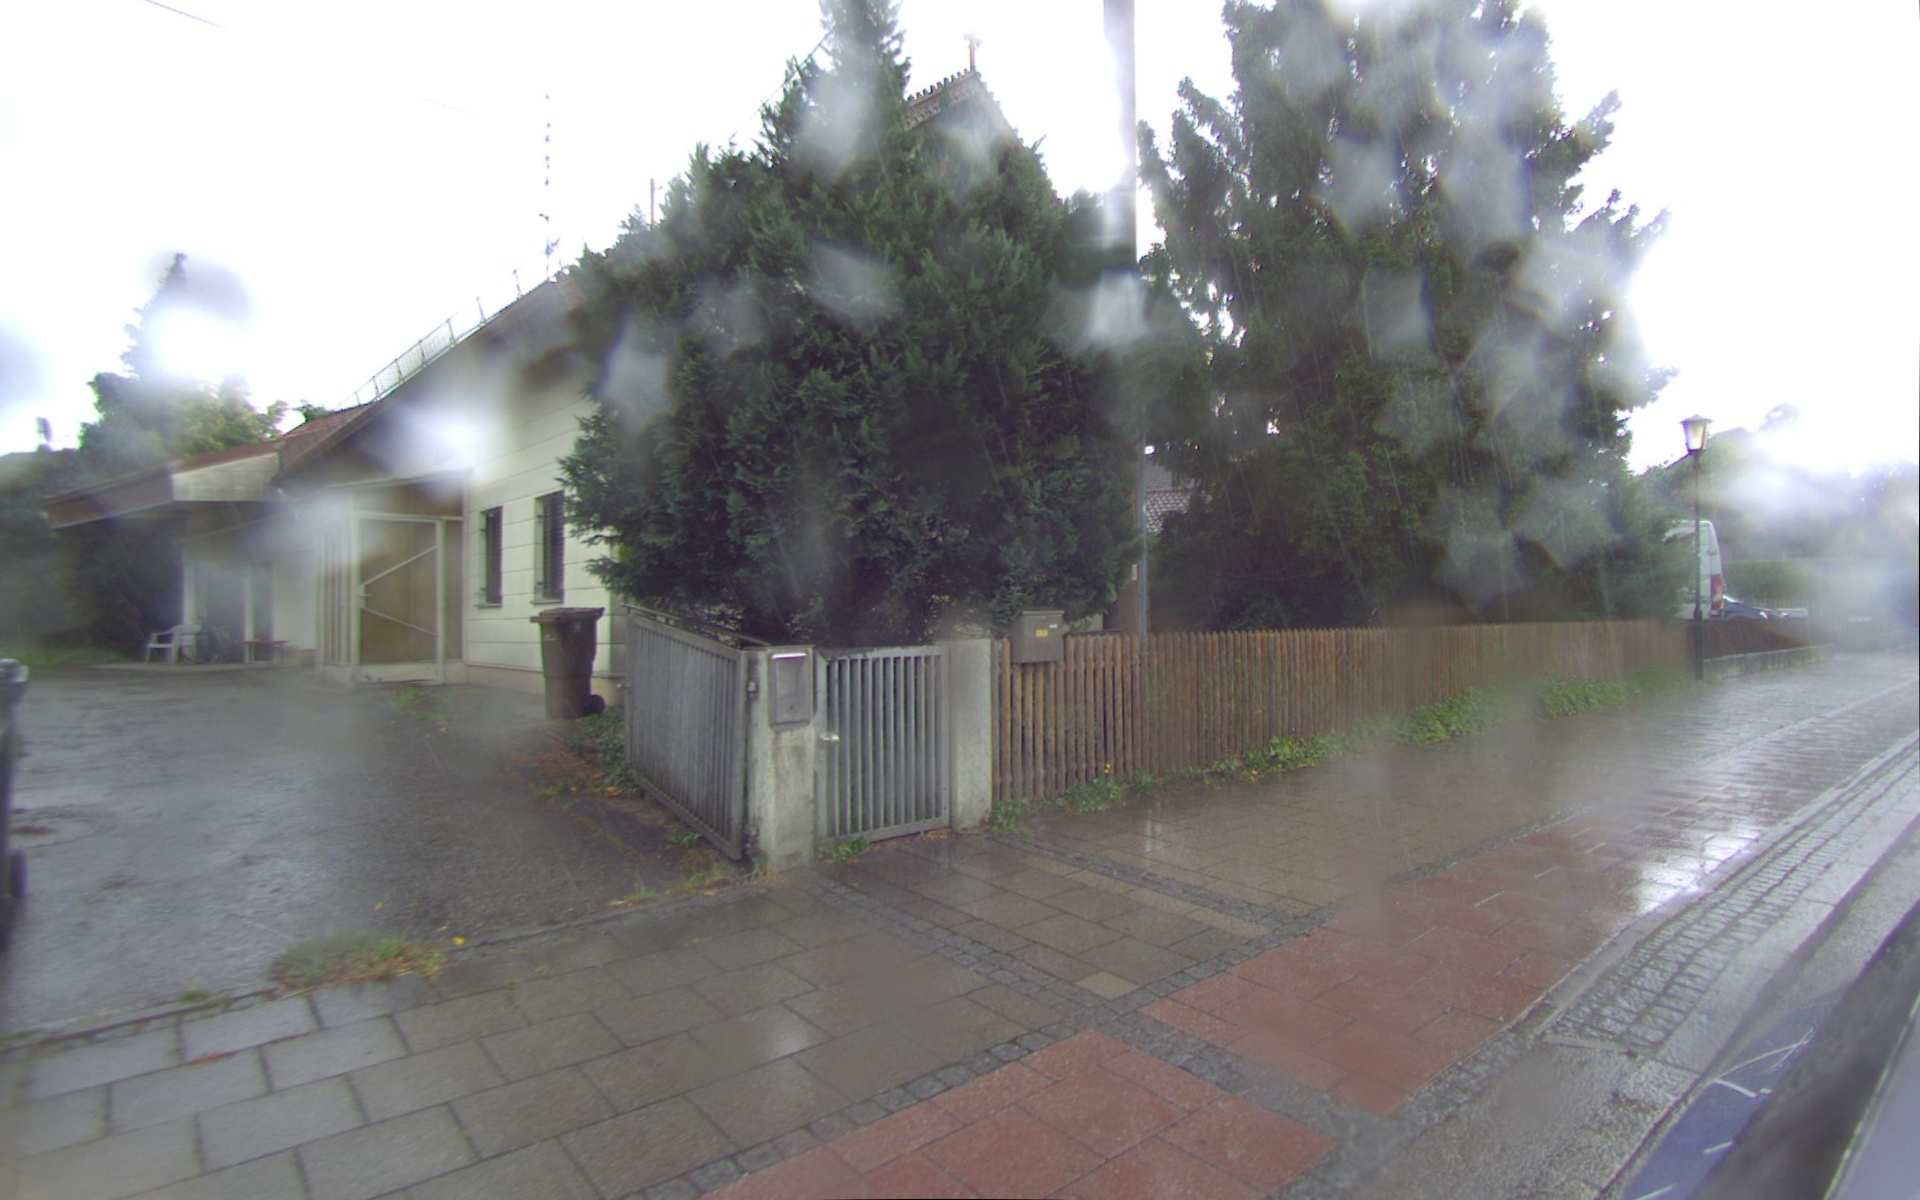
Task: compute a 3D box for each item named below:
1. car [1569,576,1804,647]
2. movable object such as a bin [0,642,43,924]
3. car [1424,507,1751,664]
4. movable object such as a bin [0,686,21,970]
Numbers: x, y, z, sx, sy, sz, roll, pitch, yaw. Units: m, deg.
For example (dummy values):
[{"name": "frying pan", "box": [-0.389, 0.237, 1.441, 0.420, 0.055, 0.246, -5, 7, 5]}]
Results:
[{"name": "car", "box": [17.504, 0.214, 24.508, 4.428, 1.438, 1.802, 3, 3, 43]}, {"name": "movable object such as a bin", "box": [-4.049, 0.725, 4.041, 0.543, 1.053, 0.576, 0, 2, -40]}, {"name": "car", "box": [12.442, -0.369, 20.327, 5.299, 2.761, 1.971, 3, 2, 41]}, {"name": "movable object such as a bin", "box": [-3.637, 0.814, 3.573, 0.439, 0.947, 0.434, 0, 2, -40]}]
